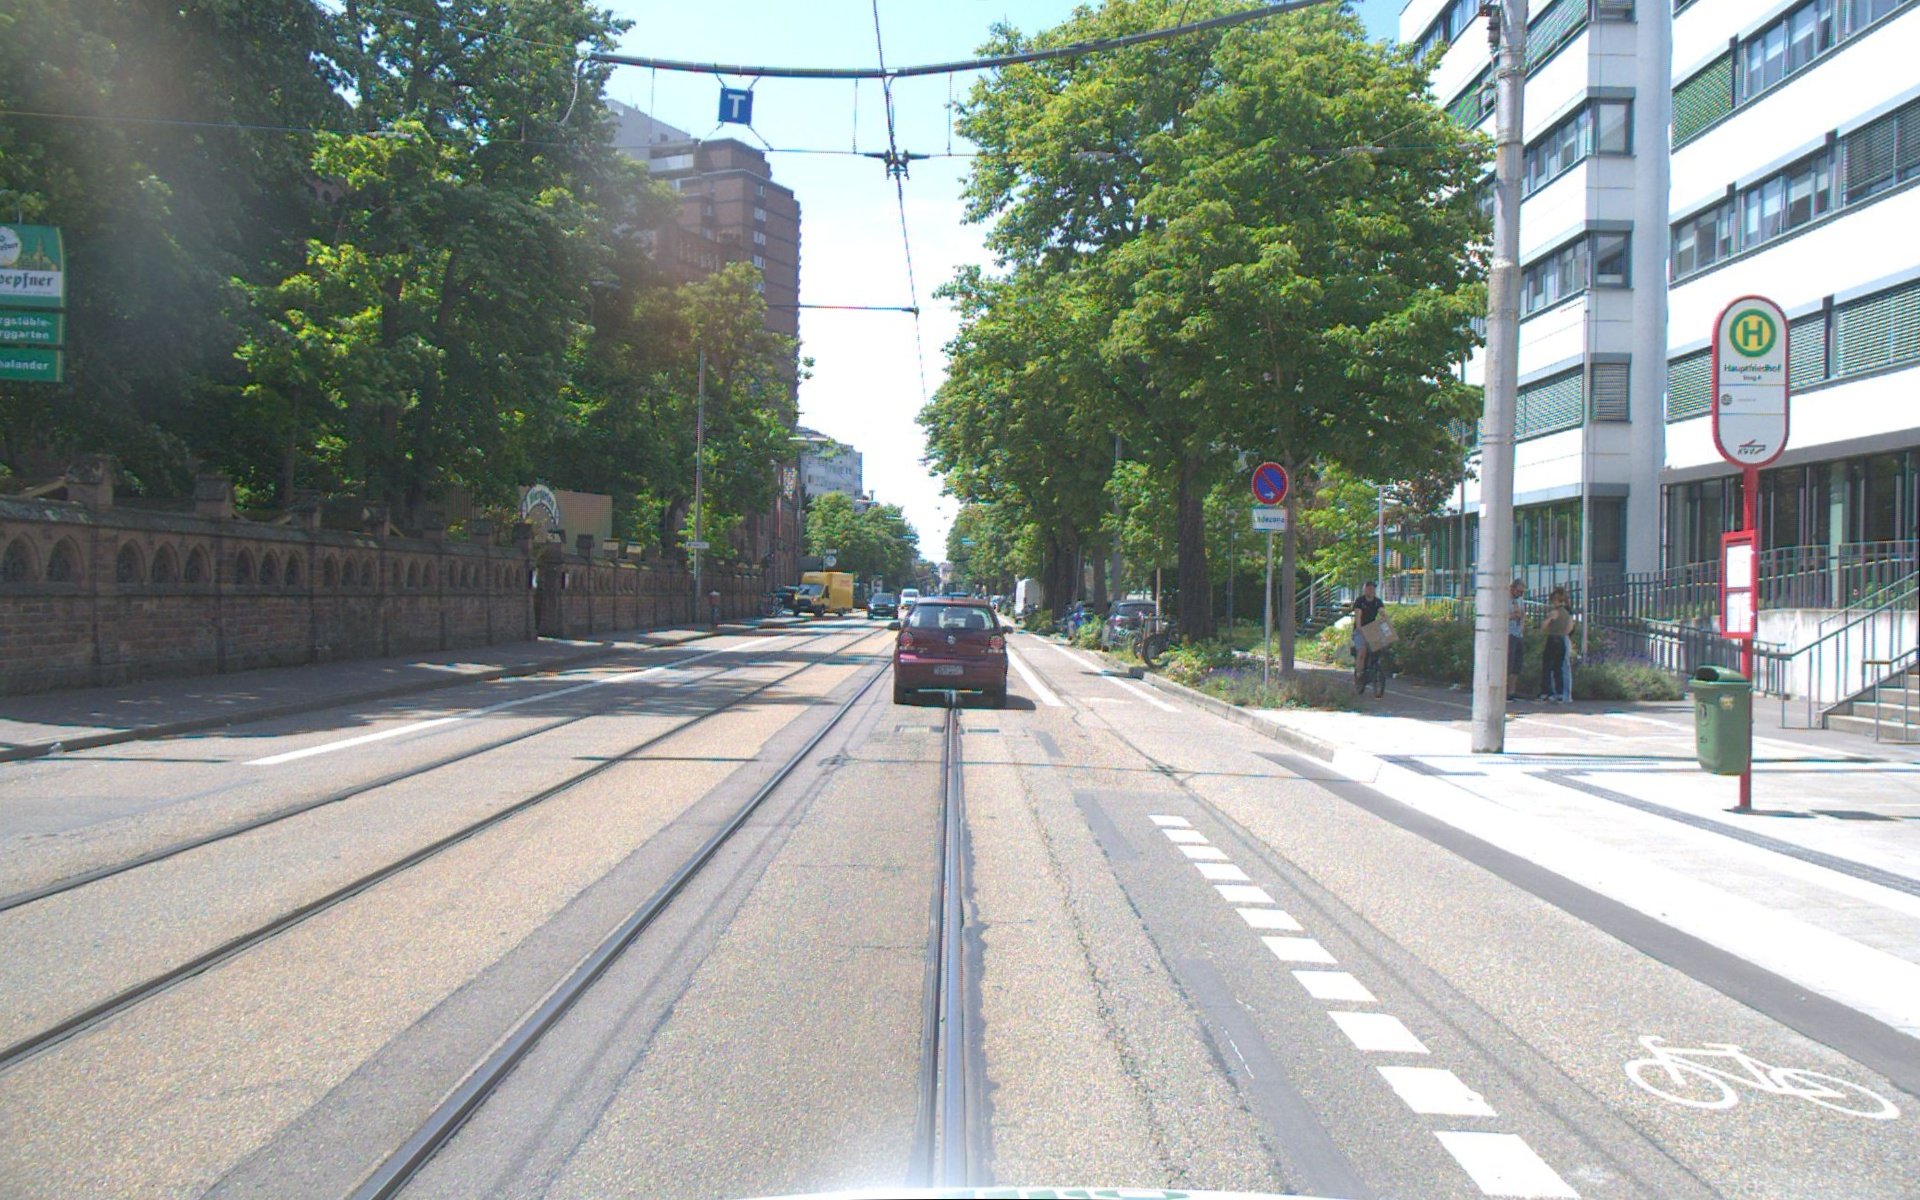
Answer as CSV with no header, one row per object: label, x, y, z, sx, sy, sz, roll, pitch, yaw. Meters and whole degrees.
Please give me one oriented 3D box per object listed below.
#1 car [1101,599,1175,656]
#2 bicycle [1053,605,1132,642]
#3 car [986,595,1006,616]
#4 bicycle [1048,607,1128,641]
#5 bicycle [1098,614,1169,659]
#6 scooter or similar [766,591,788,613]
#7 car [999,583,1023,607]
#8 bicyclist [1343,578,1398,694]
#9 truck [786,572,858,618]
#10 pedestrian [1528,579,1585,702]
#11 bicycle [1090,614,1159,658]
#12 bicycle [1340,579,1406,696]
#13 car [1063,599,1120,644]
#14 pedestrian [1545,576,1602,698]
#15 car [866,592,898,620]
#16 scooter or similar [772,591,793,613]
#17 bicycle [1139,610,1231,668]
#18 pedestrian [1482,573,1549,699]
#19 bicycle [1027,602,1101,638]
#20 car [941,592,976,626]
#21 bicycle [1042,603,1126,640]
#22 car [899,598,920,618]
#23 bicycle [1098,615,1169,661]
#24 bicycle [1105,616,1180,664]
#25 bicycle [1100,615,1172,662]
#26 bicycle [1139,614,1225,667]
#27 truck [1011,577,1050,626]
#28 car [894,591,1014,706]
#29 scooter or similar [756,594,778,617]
car,5.002,0.745,46.881,1.654,1.529,3.627,0,0,0
bicycle,5.258,0.932,65.799,3.008,1.336,0.781,3,0,-2
car,3.156,0.472,145.511,1.640,1.685,4.000,2,0,0
bicycle,4.991,0.938,64.586,3.008,1.175,0.781,3,0,-2
bicycle,4.404,0.931,41.997,1.715,1.104,0.548,1,0,-1
scooter or similar,-10.261,0.126,92.838,1.073,1.175,0.524,2,0,-22
car,3.935,-0.395,128.197,1.640,1.685,4.000,2,0,0
bicyclist,6.612,0.578,26.651,0.682,1.831,0.888,0,-1,3
truck,-9.023,-0.313,109.128,2.319,2.835,7.324,1,0,15
pedestrian,8.591,0.570,23.826,0.531,1.745,0.560,0,-1,-29
bicycle,4.257,0.921,42.774,1.715,1.104,0.548,1,0,-1
bicycle,6.608,0.586,26.548,0.675,1.817,1.811,0,-1,3
car,4.658,0.743,59.031,1.654,1.494,3.879,1,0,0
pedestrian,8.974,0.534,24.196,0.531,1.745,0.560,0,-1,-29
car,-4.612,0.343,98.189,1.734,1.542,4.000,1,0,0
scooter or similar,-10.033,0.125,93.576,1.073,1.175,0.524,2,0,-22
bicycle,4.709,0.810,34.691,1.845,1.203,0.694,1,0,-1
pedestrian,8.277,0.524,24.635,0.671,1.828,0.667,0,0,-32
bicycle,4.364,0.837,69.638,3.008,1.336,0.781,3,0,-2
car,-0.115,0.541,105.632,1.954,2.048,3.998,2,0,-2
bicycle,5.036,0.879,67.373,3.300,1.336,0.781,3,0,-2
car,-5.082,0.800,165.839,1.953,1.887,4.681,1,0,0
bicycle,4.332,0.953,41.365,1.715,1.104,0.548,1,0,-1
bicycle,4.356,0.950,39.595,1.715,1.104,0.548,1,0,-1
bicycle,4.329,0.944,40.758,1.715,1.104,0.548,1,0,-1
bicycle,4.800,0.877,35.855,1.787,1.104,0.719,1,-1,3
truck,4.093,0.081,96.591,1.953,2.708,4.875,2,0,0
car,-0.111,0.635,24.147,1.586,1.512,3.999,1,0,-1
scooter or similar,-10.513,0.307,90.119,1.073,1.175,0.524,2,0,-22
